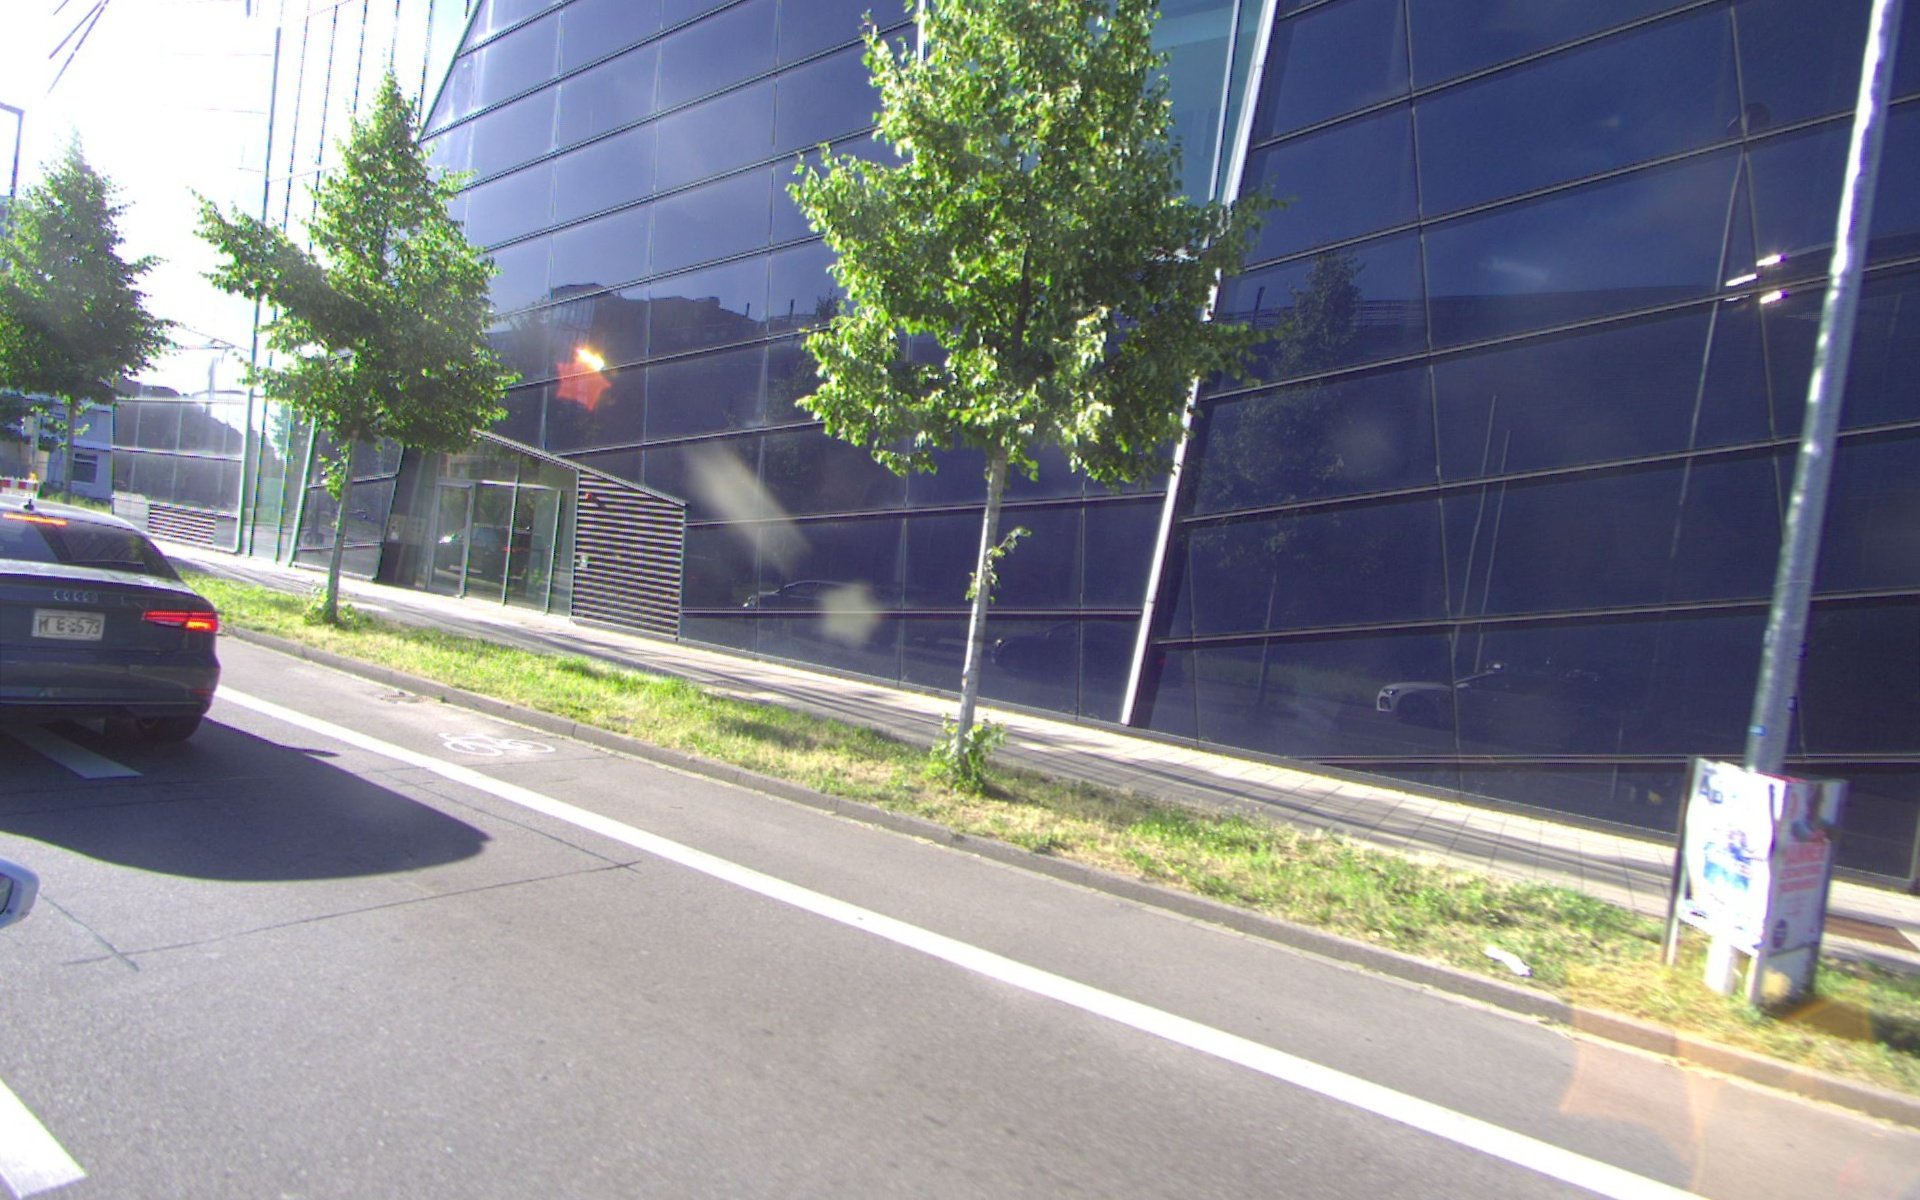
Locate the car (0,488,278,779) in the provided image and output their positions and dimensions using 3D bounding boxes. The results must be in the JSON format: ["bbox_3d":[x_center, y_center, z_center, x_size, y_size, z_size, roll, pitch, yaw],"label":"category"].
[{"bbox_3d":[-6.288,-0.014,6.345,4.195,1.408,1.748,8,0,34],"label":"car"}]
